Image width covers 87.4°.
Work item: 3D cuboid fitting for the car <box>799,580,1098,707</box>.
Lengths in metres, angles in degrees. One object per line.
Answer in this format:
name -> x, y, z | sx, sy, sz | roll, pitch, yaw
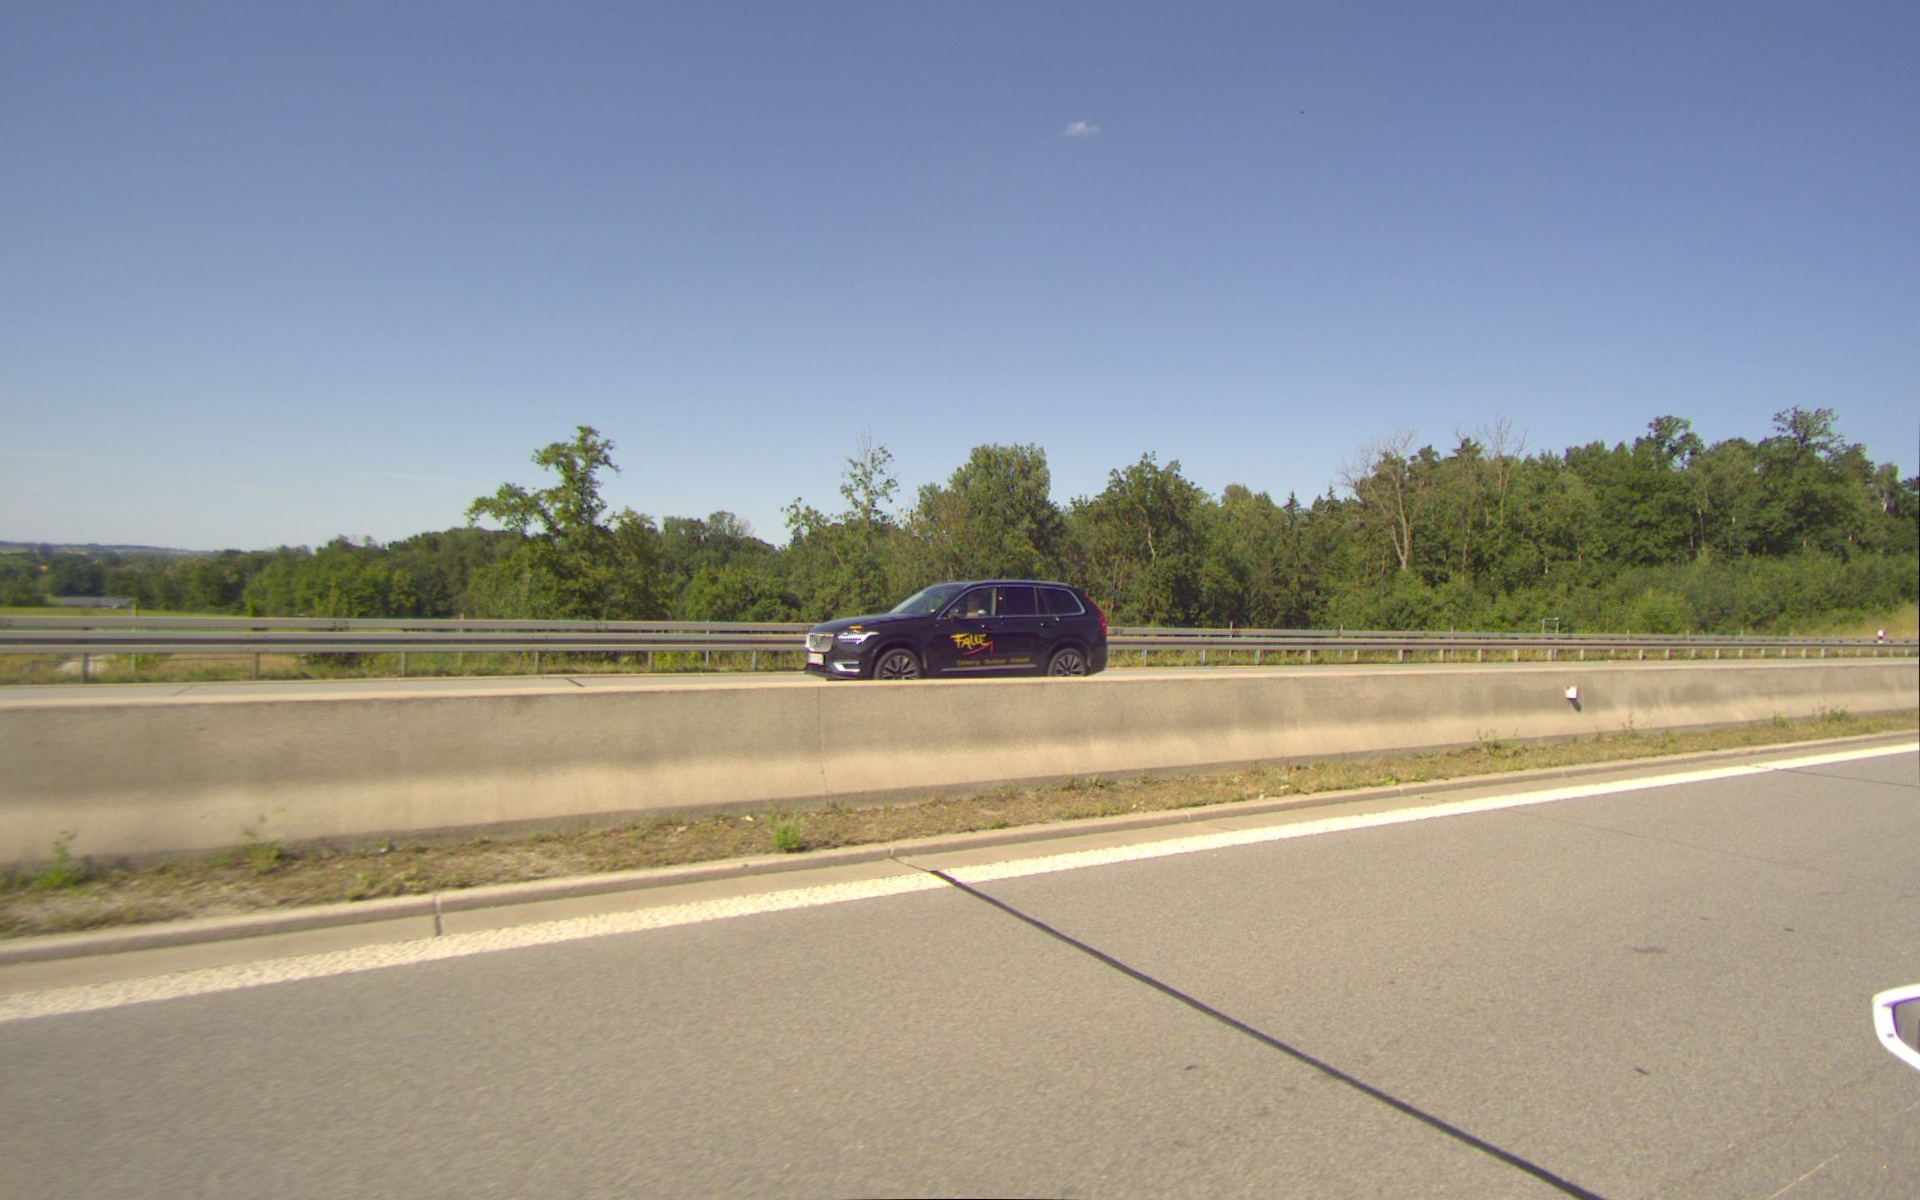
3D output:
car -> -0.141, 0.622, 15.435 | 4.220, 1.714, 1.892 | 1, 0, -31
